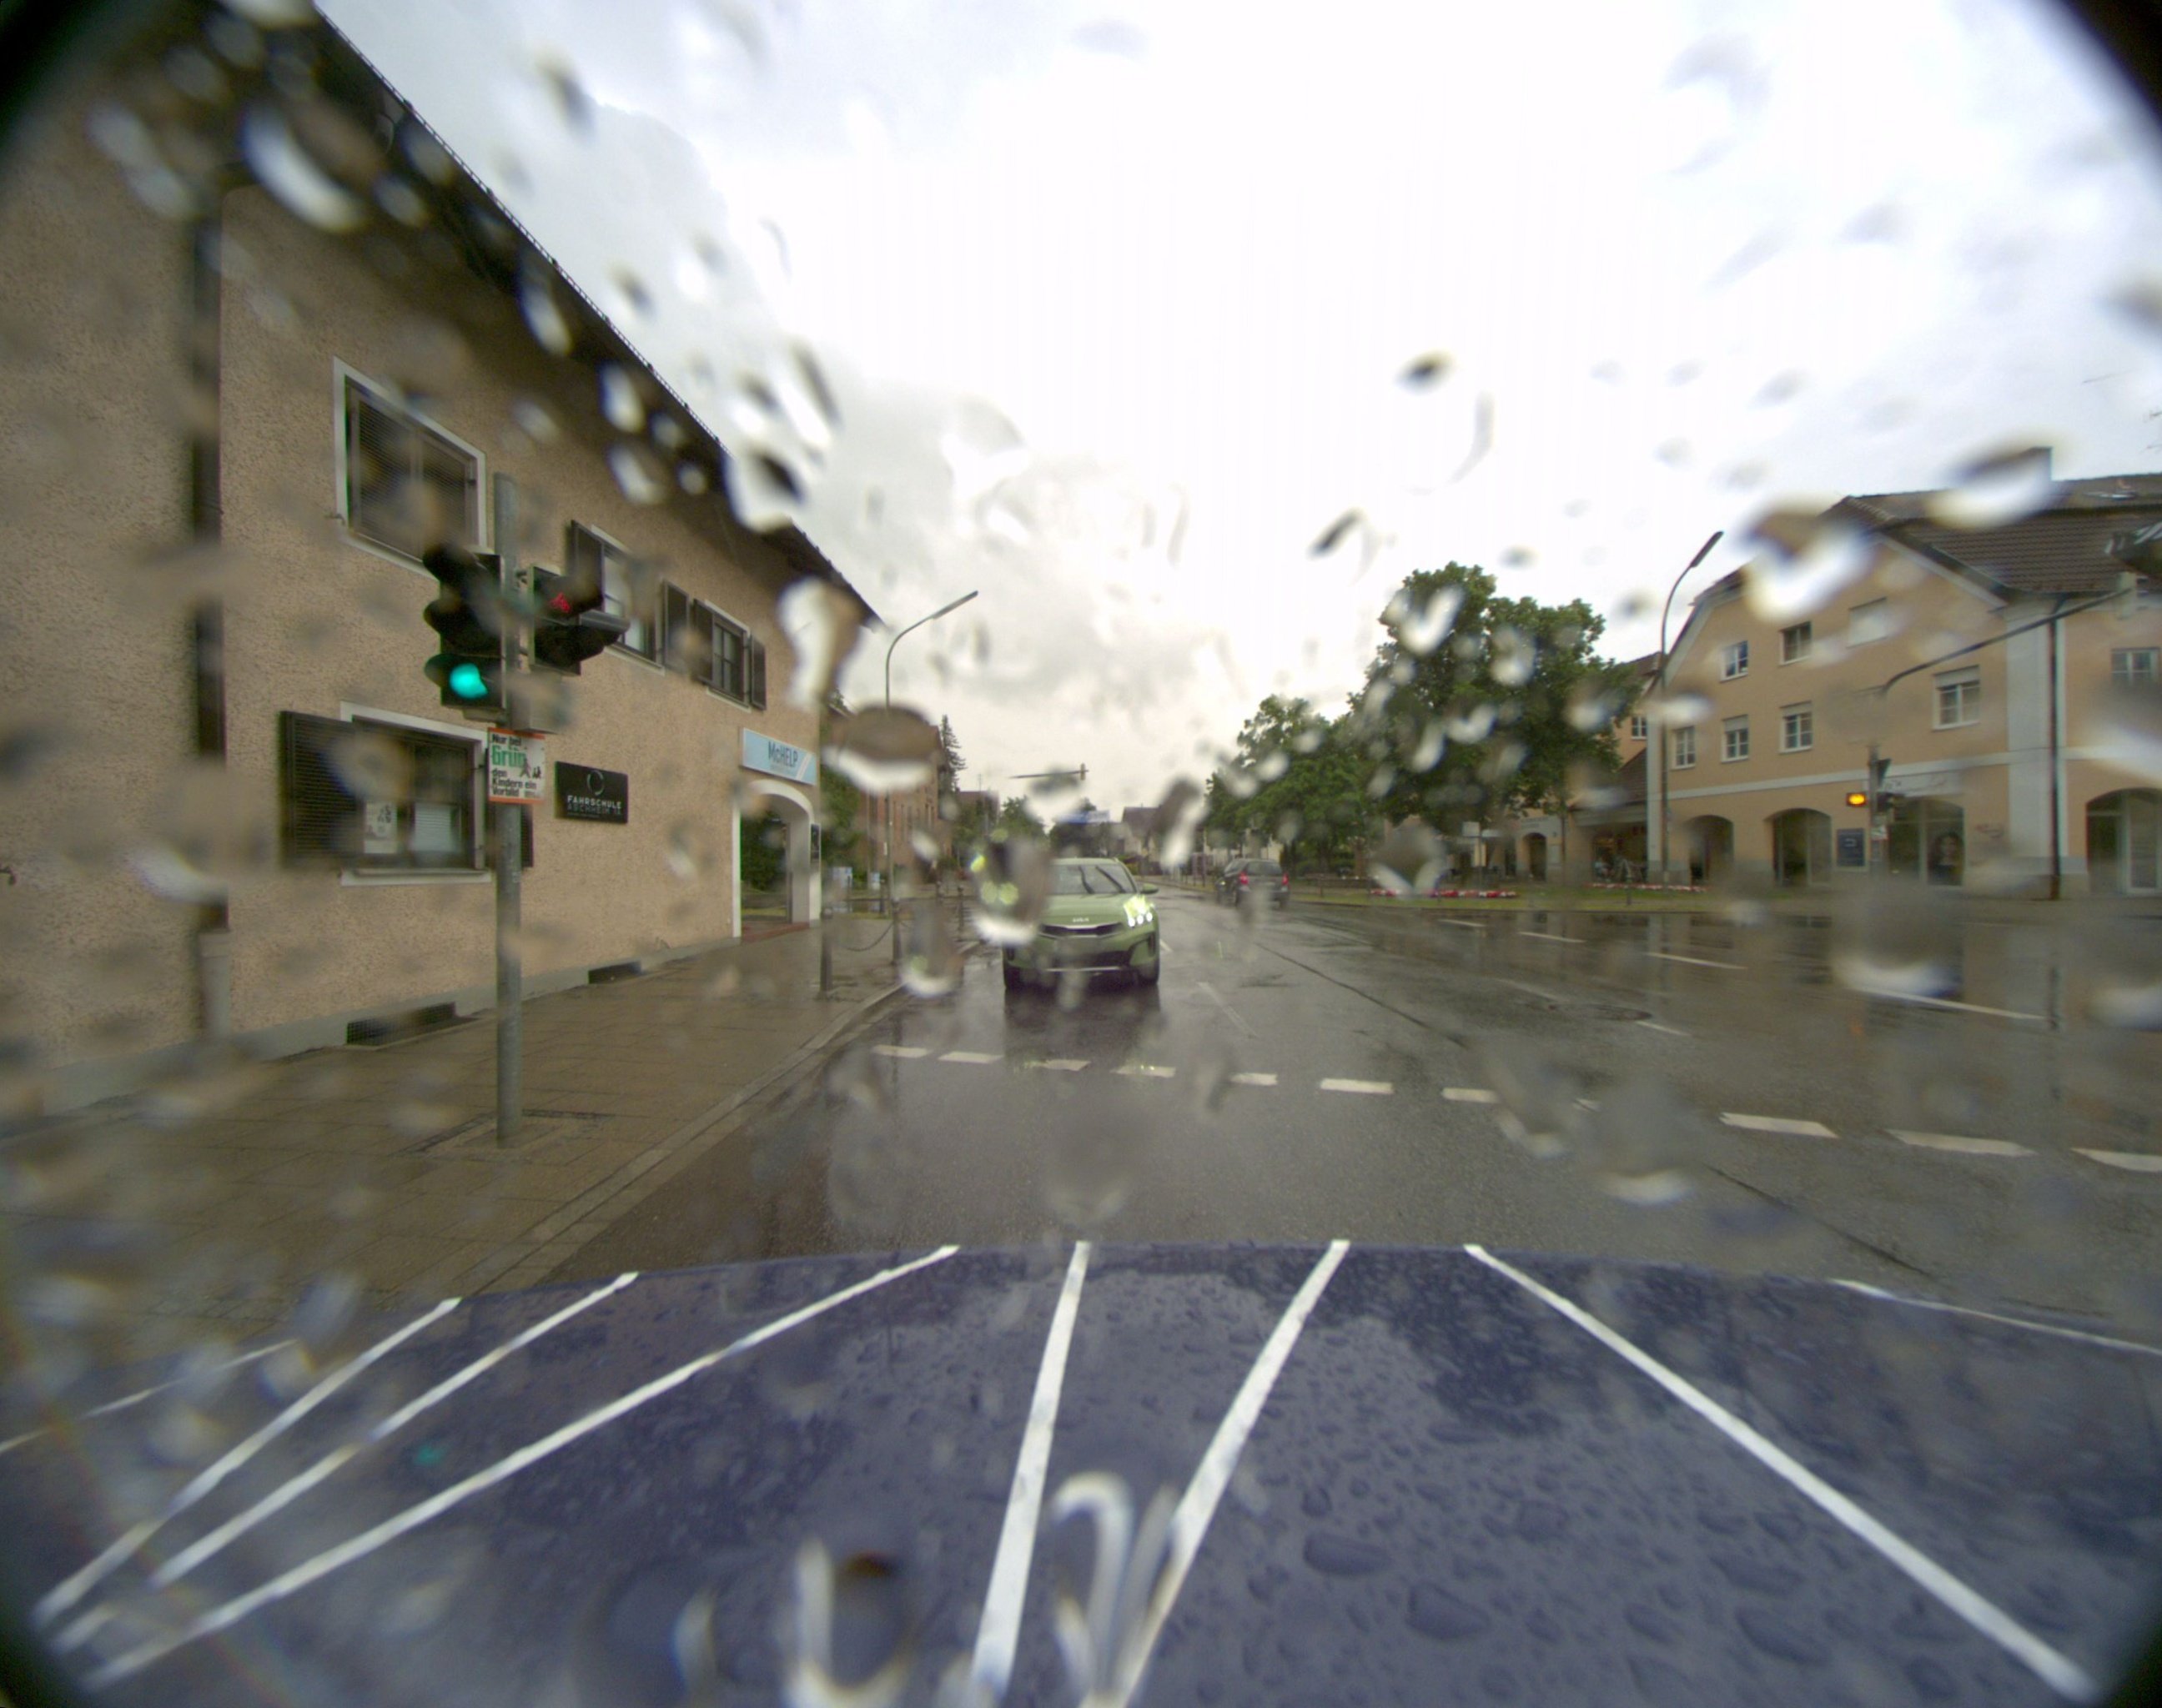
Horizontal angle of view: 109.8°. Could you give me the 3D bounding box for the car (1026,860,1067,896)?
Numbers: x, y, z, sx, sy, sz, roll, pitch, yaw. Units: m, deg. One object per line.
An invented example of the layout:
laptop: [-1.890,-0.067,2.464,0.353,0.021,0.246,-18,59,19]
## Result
car: [-1.584,1.024,34.395,1.736,1.489,4.609,0,0,-3]

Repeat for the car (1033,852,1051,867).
car: [-5.243,0.787,102.731,2.218,1.977,4.952,0,0,-5]

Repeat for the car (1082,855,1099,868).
car: [1.114,0.905,90.830,1.873,1.447,4.104,0,0,-2]

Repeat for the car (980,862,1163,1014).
car: [-0.071,0.889,9.914,1.872,1.505,4.105,-1,0,1]

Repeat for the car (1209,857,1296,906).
car: [5.758,0.884,25.975,1.921,1.524,3.898,0,0,-3]
